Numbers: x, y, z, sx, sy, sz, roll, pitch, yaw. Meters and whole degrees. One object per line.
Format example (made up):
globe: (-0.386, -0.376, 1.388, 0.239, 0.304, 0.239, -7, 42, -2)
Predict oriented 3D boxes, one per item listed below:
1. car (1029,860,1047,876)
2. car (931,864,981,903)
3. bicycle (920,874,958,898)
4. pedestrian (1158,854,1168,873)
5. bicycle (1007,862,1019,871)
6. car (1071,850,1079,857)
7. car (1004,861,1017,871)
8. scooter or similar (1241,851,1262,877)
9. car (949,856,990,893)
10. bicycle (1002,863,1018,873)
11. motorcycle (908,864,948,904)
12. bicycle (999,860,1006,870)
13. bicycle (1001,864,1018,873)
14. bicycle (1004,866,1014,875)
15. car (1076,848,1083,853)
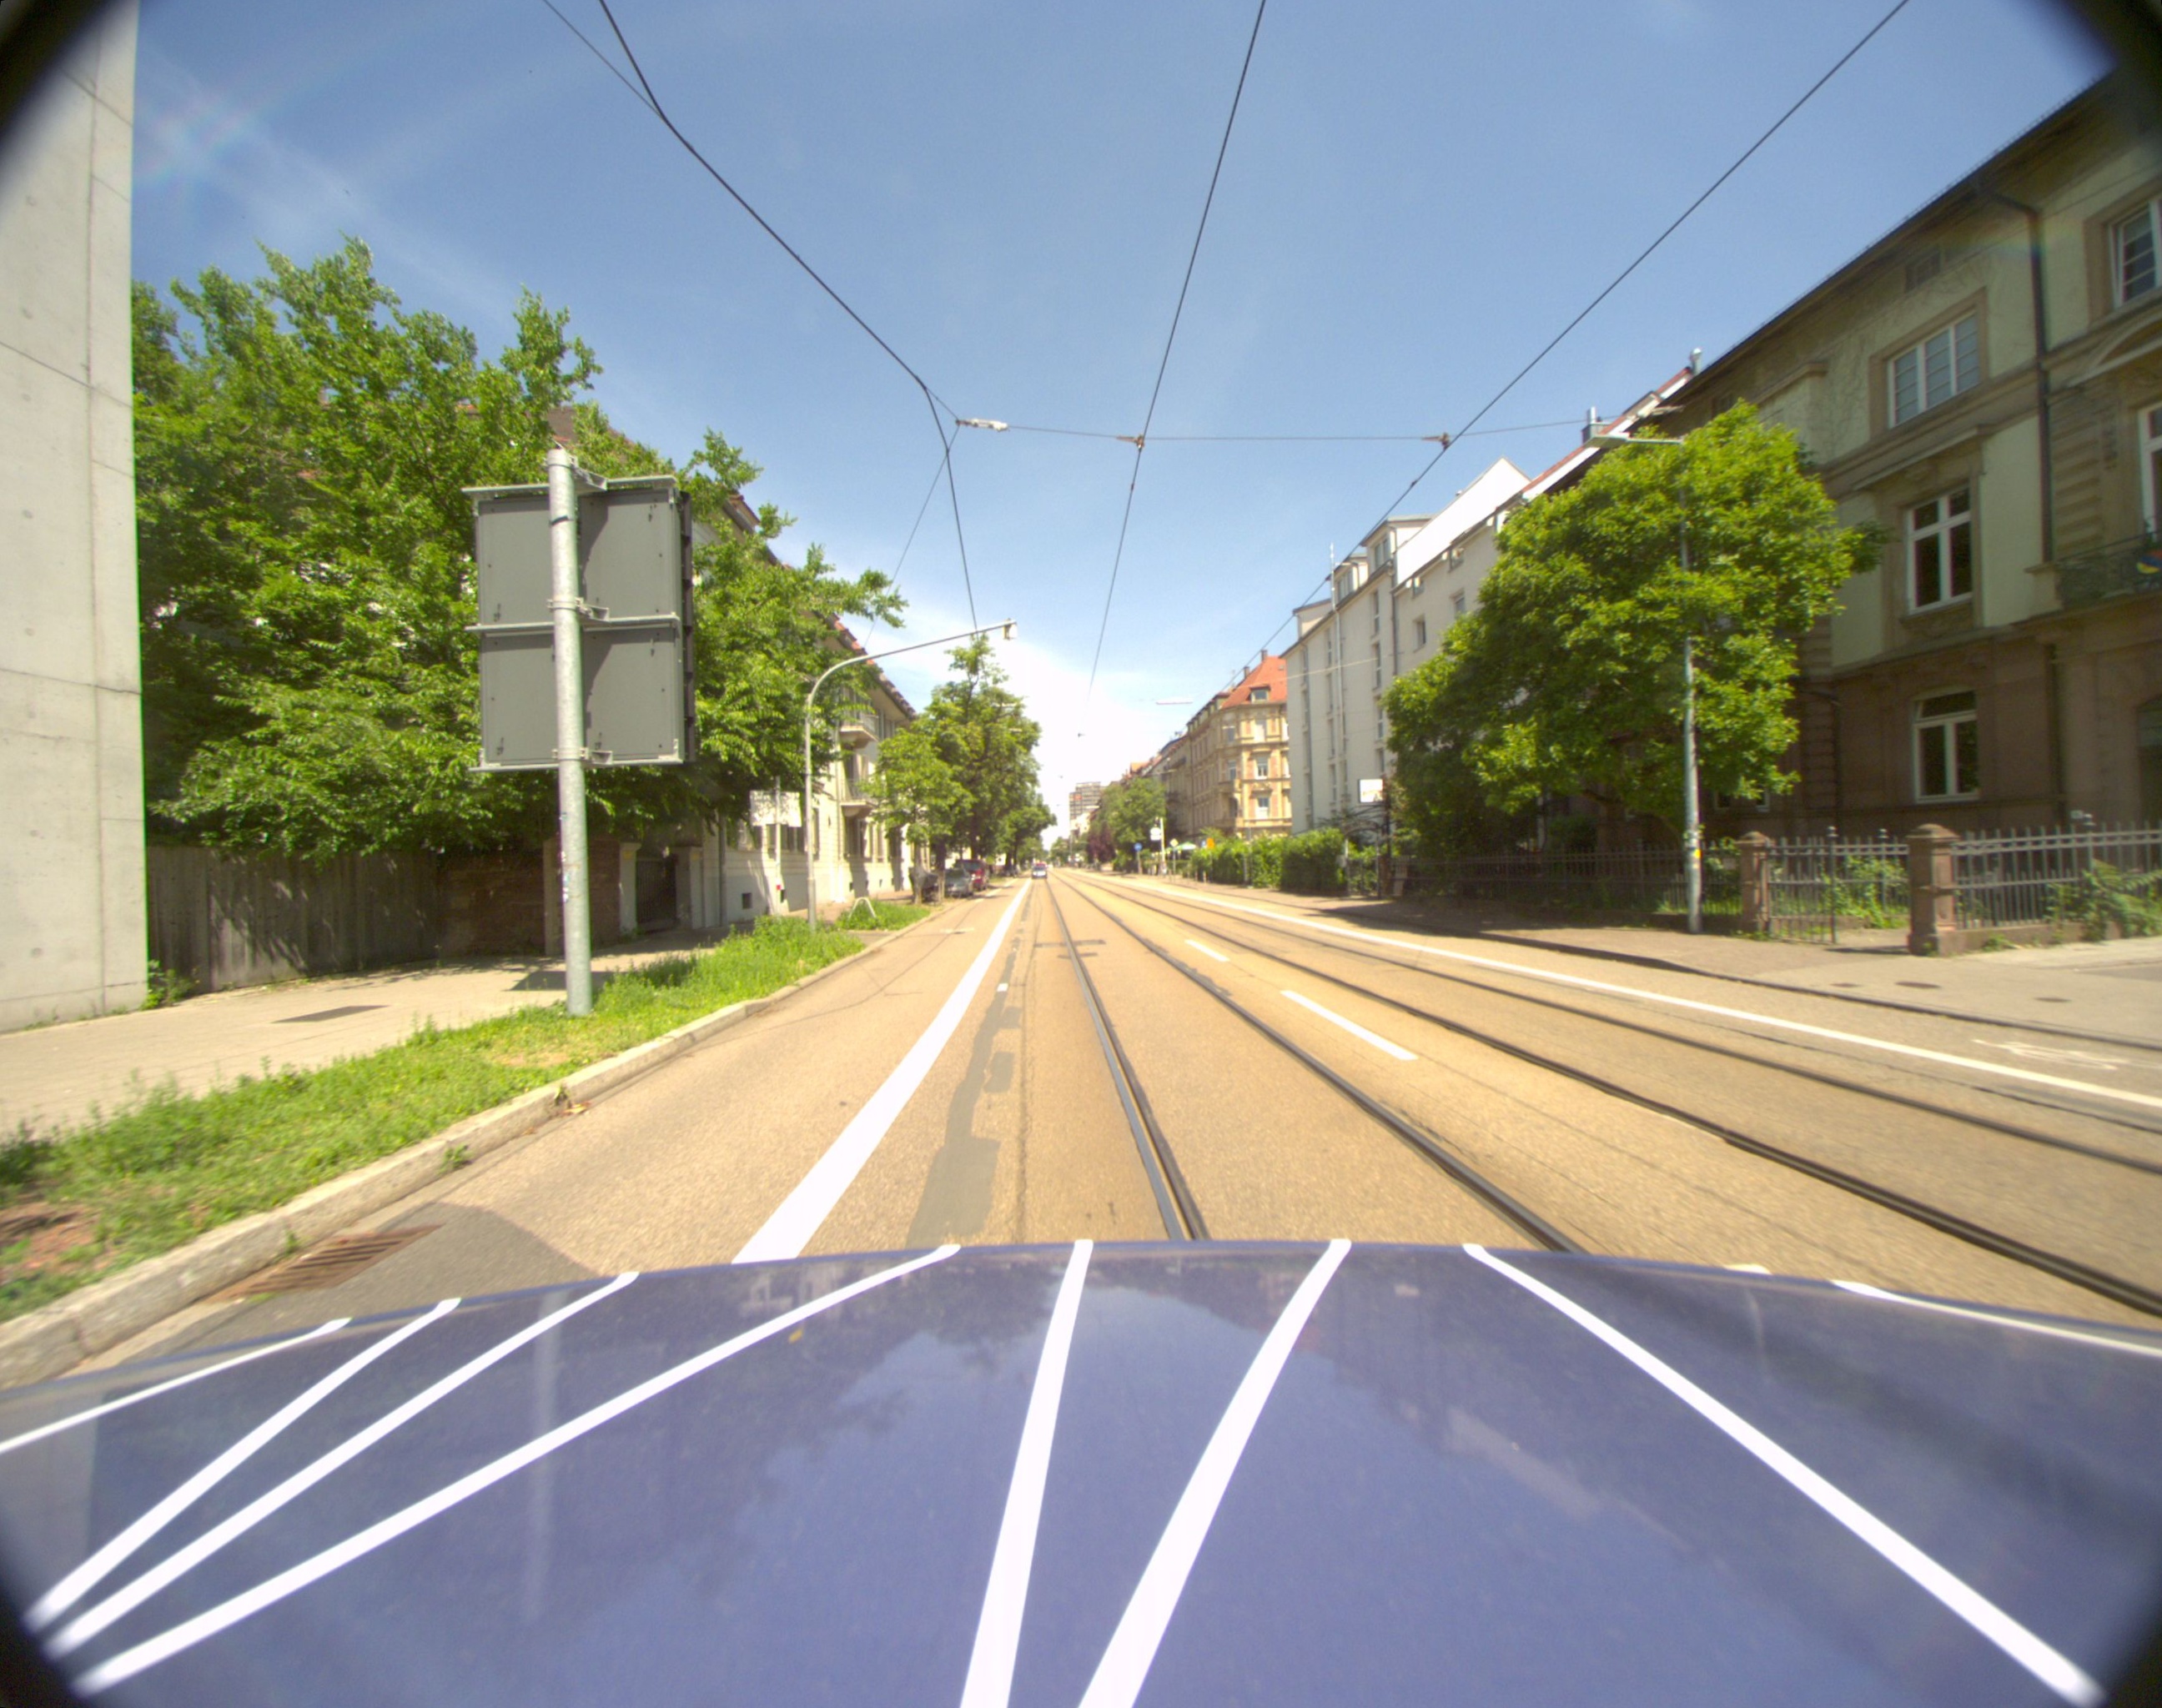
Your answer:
car: (-4.732, 1.515, 84.219, 1.894, 1.561, 4.035, -3, 1, -3)
car: (-6.212, 1.423, 38.278, 1.865, 1.568, 4.875, -3, 1, -2)
bicycle: (-6.489, 1.458, 34.751, 1.662, 1.010, 0.371, -2, 0, -2)
pedestrian: (7.374, 0.825, 68.371, 0.742, 1.632, 0.939, -2, 1, 0)
bicycle: (-9.815, 1.778, 110.067, 1.623, 1.193, 0.305, -3, 1, -2)
car: (-1.712, -0.124, 223.301, 1.999, 1.717, 3.870, -3, 1, -3)
car: (-9.811, 1.644, 105.361, 1.596, 1.444, 3.631, -1, 0, -3)
scooter or similar: (9.780, 0.586, 43.582, 1.012, 1.442, 0.597, -3, 1, -3)
car: (-6.786, 1.184, 46.613, 1.864, 2.002, 4.974, -3, 1, -2)
bicycle: (-9.444, 1.914, 101.249, 2.038, 1.193, 0.445, -3, 1, 7)
motorcycle: (-6.267, 1.198, 31.300, 0.746, 1.497, 2.560, -2, 0, 9)
bicycle: (-9.846, 1.403, 95.440, 0.284, 1.193, 1.625, -4, 1, -23)
bicycle: (-9.475, 1.928, 100.676, 2.038, 1.193, 0.445, -2, 0, 7)
bicycle: (-9.110, 2.039, 95.833, 1.170, 1.057, 0.279, -3, 2, 0)
car: (-0.349, -0.960, 204.392, 1.494, 1.372, 3.629, -3, 1, -3)
